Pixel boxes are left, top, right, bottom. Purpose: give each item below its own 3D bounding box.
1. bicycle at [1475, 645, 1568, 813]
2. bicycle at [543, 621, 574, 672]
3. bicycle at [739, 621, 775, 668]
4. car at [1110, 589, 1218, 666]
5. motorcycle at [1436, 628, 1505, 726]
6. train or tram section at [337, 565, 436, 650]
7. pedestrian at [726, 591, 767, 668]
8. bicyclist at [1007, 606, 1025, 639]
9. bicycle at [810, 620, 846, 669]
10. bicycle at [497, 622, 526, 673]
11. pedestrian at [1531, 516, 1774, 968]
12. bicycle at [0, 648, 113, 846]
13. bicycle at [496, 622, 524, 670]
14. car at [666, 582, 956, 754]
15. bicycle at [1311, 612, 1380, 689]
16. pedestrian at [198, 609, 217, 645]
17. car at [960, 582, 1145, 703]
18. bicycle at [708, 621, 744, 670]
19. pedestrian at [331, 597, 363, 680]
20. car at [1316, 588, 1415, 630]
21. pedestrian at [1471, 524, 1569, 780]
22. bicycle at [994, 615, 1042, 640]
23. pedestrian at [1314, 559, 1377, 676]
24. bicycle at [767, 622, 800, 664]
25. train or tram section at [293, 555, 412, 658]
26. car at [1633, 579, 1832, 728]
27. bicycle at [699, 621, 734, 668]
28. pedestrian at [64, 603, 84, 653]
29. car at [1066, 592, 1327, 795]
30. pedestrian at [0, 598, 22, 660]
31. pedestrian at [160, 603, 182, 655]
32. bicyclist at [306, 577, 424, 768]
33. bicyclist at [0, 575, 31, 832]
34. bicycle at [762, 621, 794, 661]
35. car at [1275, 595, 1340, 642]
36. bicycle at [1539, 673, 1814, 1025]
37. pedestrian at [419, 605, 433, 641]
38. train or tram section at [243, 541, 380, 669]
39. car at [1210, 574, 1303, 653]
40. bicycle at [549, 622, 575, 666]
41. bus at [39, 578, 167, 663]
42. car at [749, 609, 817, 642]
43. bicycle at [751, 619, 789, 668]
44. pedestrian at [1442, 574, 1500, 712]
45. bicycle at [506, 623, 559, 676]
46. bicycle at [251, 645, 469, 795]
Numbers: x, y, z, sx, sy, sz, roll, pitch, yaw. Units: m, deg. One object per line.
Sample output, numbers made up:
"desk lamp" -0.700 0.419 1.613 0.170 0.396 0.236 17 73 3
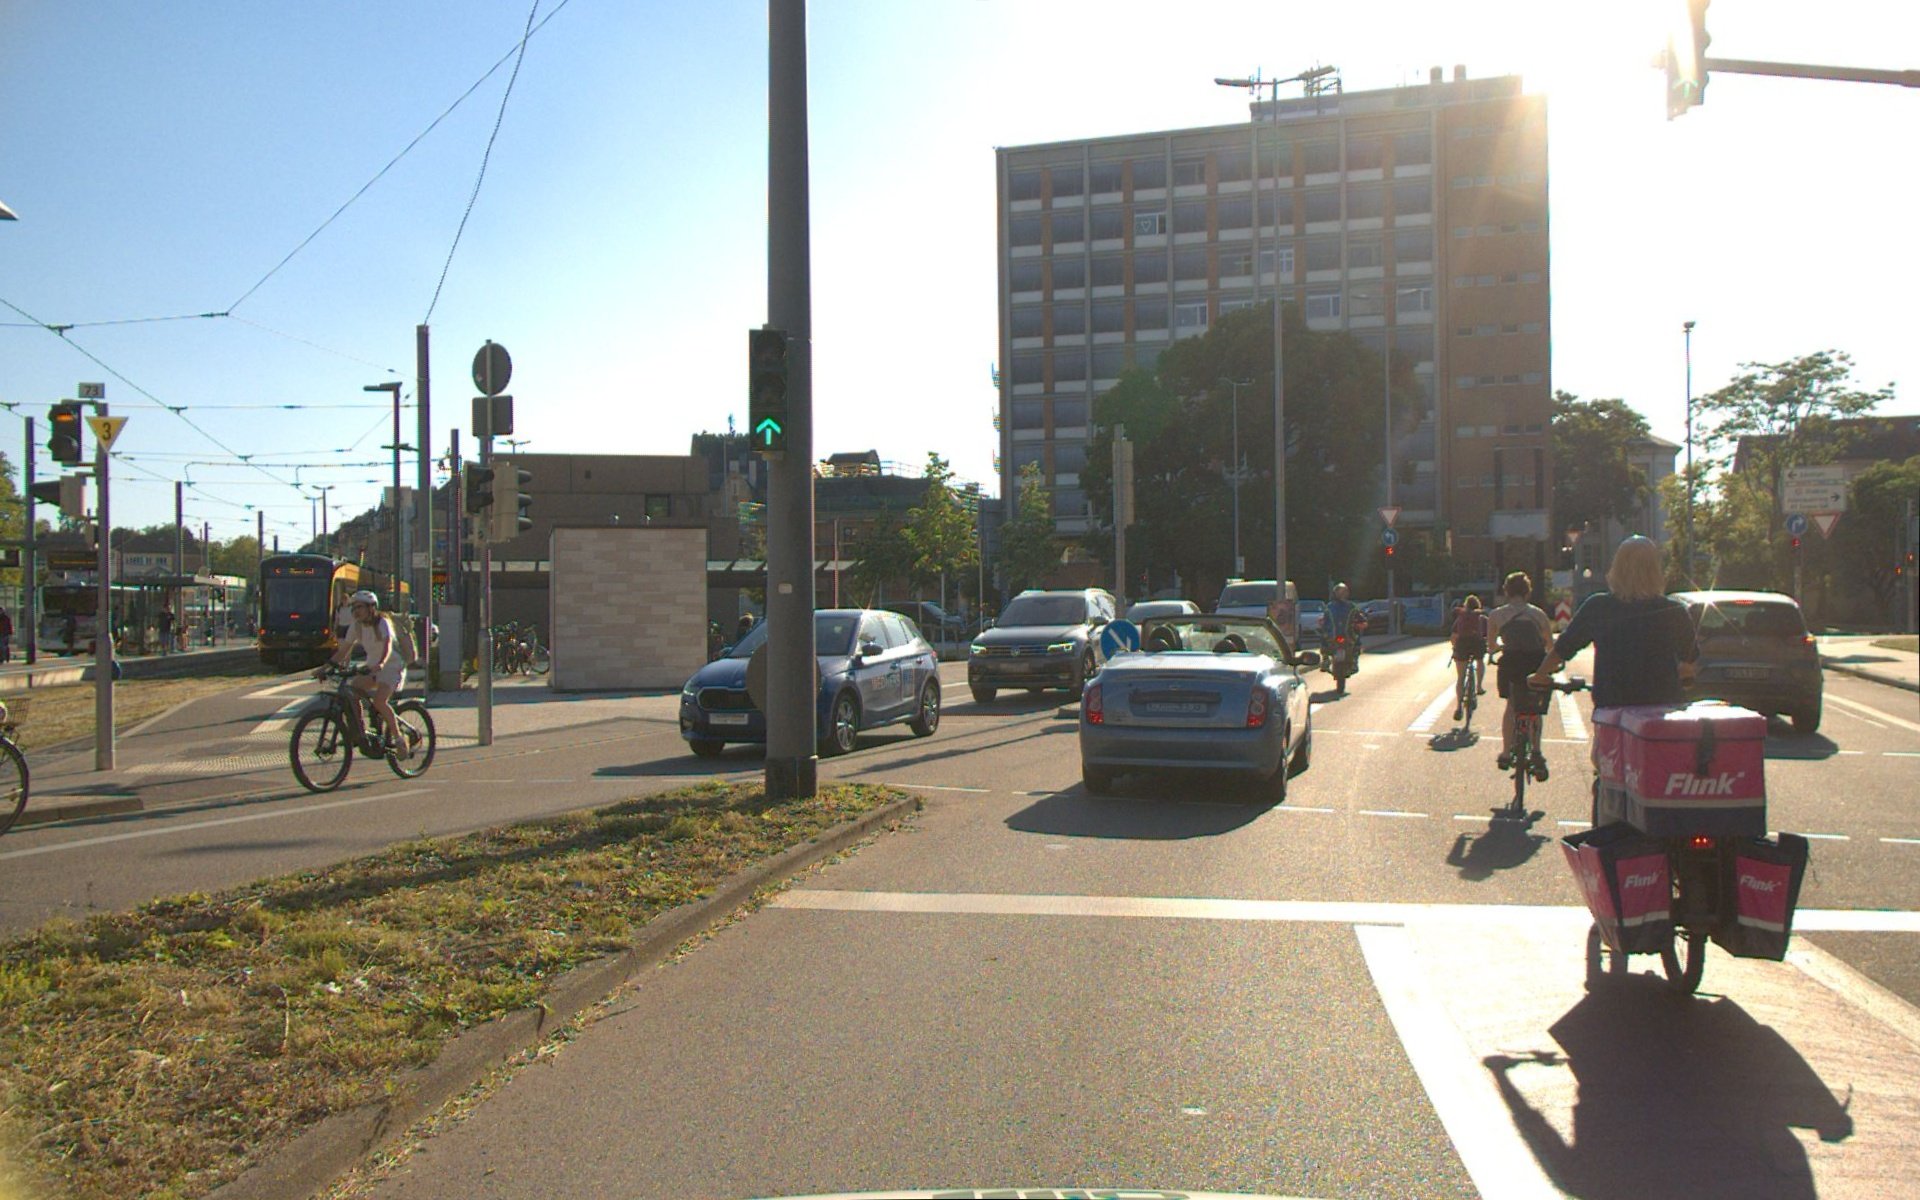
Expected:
"bicycle" 4.334 0.949 12.850 0.552 1.171 1.951 1 -1 15
"bicycle" -9.406 1.080 38.711 0.597 1.134 1.888 1 -1 -16
"bicycle" -5.146 1.113 41.834 0.597 1.134 1.888 1 -1 -16
"car" 4.544 0.588 36.408 1.659 1.588 3.982 -1 0 17
"motorcycle" 6.254 0.910 20.340 0.600 1.117 2.362 1 -1 12
"train or tram section" -26.746 0.382 77.693 2.987 3.660 12.011 1 -1 -13
"pedestrian" -5.315 0.732 41.172 0.886 1.902 0.684 1 -1 -16
"bicyclist" 2.802 1.105 82.640 0.737 1.626 0.589 1 -1 26
"bicycle" -3.228 1.073 40.348 0.596 1.134 1.890 1 -1 -13
"bicycle" -10.388 1.089 38.305 0.597 1.134 1.888 1 -1 -16
"pedestrian" 3.110 0.601 7.516 0.789 1.902 0.957 1 -1 8
"bicycle" -6.717 0.995 10.663 0.660 1.272 2.458 -3 -1 18
"bicycle" -10.930 1.102 40.192 0.596 1.134 1.889 1 -1 -14
"car" -1.483 0.707 17.982 1.700 1.601 3.926 -3 -2 17
"bicycle" 6.436 0.826 27.511 0.596 1.212 2.412 1 -1 26
"pedestrian" -37.112 1.323 81.575 0.721 1.779 0.638 -1 -1 -11
"car" 1.588 0.636 26.573 1.725 1.736 4.531 -2 -1 19
"bicycle" -5.628 1.078 39.721 0.597 1.134 1.888 1 -1 -16
"pedestrian" -13.299 0.822 35.880 0.629 1.779 0.568 -1 -1 -23
"car" 16.340 0.369 66.657 3.958 1.557 1.781 -1 -1 -37
"pedestrian" 4.333 0.390 12.839 0.645 1.902 0.873 1 -1 15
"bicycle" 2.896 1.375 82.584 2.360 1.212 0.609 1 -1 27
"pedestrian" 6.418 0.285 27.529 0.817 1.902 0.920 1 -1 26
"bicycle" -4.911 1.184 45.935 0.597 1.134 1.888 1 -1 -16
"train or tram section" -23.997 0.295 65.951 2.961 3.660 12.155 1 -1 -14
"car" 9.942 0.657 21.584 1.793 1.719 4.370 1 -1 18
"bicycle" -6.157 1.103 41.763 0.597 1.134 1.888 1 -1 -16
"pedestrian" -31.586 1.003 58.955 0.562 1.779 0.635 -1 -1 -23
"car" 2.192 0.720 14.366 1.625 1.466 4.156 1 -1 17
"pedestrian" -27.734 0.850 48.263 0.631 1.779 0.566 -1 -1 -31
"pedestrian" -27.331 1.007 57.290 0.631 1.779 0.566 -1 -1 -31
"bicyclist" -5.405 0.645 15.046 0.694 1.686 0.743 -1 -1 18
"bicyclist" -6.715 0.694 10.748 0.694 1.686 0.901 -3 -1 18
"bicycle" -5.274 1.178 47.884 0.597 1.134 1.888 1 -1 -16
"car" 12.259 0.625 58.190 1.761 1.557 4.002 -2 -1 18
"bicycle" 3.016 0.953 7.193 0.542 1.192 2.374 1 -1 10
"pedestrian" -26.799 1.136 83.013 0.594 1.779 0.829 -1 -1 -12
"train or tram section" -20.977 0.201 54.166 2.834 3.660 12.147 1 -1 -16
"car" 8.157 0.347 45.197 1.868 1.979 4.708 -2 -1 17
"bicycle" -10.736 1.164 44.559 0.597 1.134 1.888 1 -1 -16
"bus" -37.154 0.848 72.202 2.678 3.331 13.396 1 -1 -18
"car" -8.878 1.281 82.923 1.631 1.588 3.543 0 -1 -43
"bicycle" -4.587 1.041 39.942 0.597 1.134 1.888 1 -1 -16
"pedestrian" 6.229 0.519 20.183 0.575 1.626 1.025 1 -1 13
"bicycle" -9.489 1.078 36.765 0.594 1.134 1.897 1 -1 2
"bicycle" -5.394 1.045 15.044 0.660 1.201 2.184 -1 0 18
